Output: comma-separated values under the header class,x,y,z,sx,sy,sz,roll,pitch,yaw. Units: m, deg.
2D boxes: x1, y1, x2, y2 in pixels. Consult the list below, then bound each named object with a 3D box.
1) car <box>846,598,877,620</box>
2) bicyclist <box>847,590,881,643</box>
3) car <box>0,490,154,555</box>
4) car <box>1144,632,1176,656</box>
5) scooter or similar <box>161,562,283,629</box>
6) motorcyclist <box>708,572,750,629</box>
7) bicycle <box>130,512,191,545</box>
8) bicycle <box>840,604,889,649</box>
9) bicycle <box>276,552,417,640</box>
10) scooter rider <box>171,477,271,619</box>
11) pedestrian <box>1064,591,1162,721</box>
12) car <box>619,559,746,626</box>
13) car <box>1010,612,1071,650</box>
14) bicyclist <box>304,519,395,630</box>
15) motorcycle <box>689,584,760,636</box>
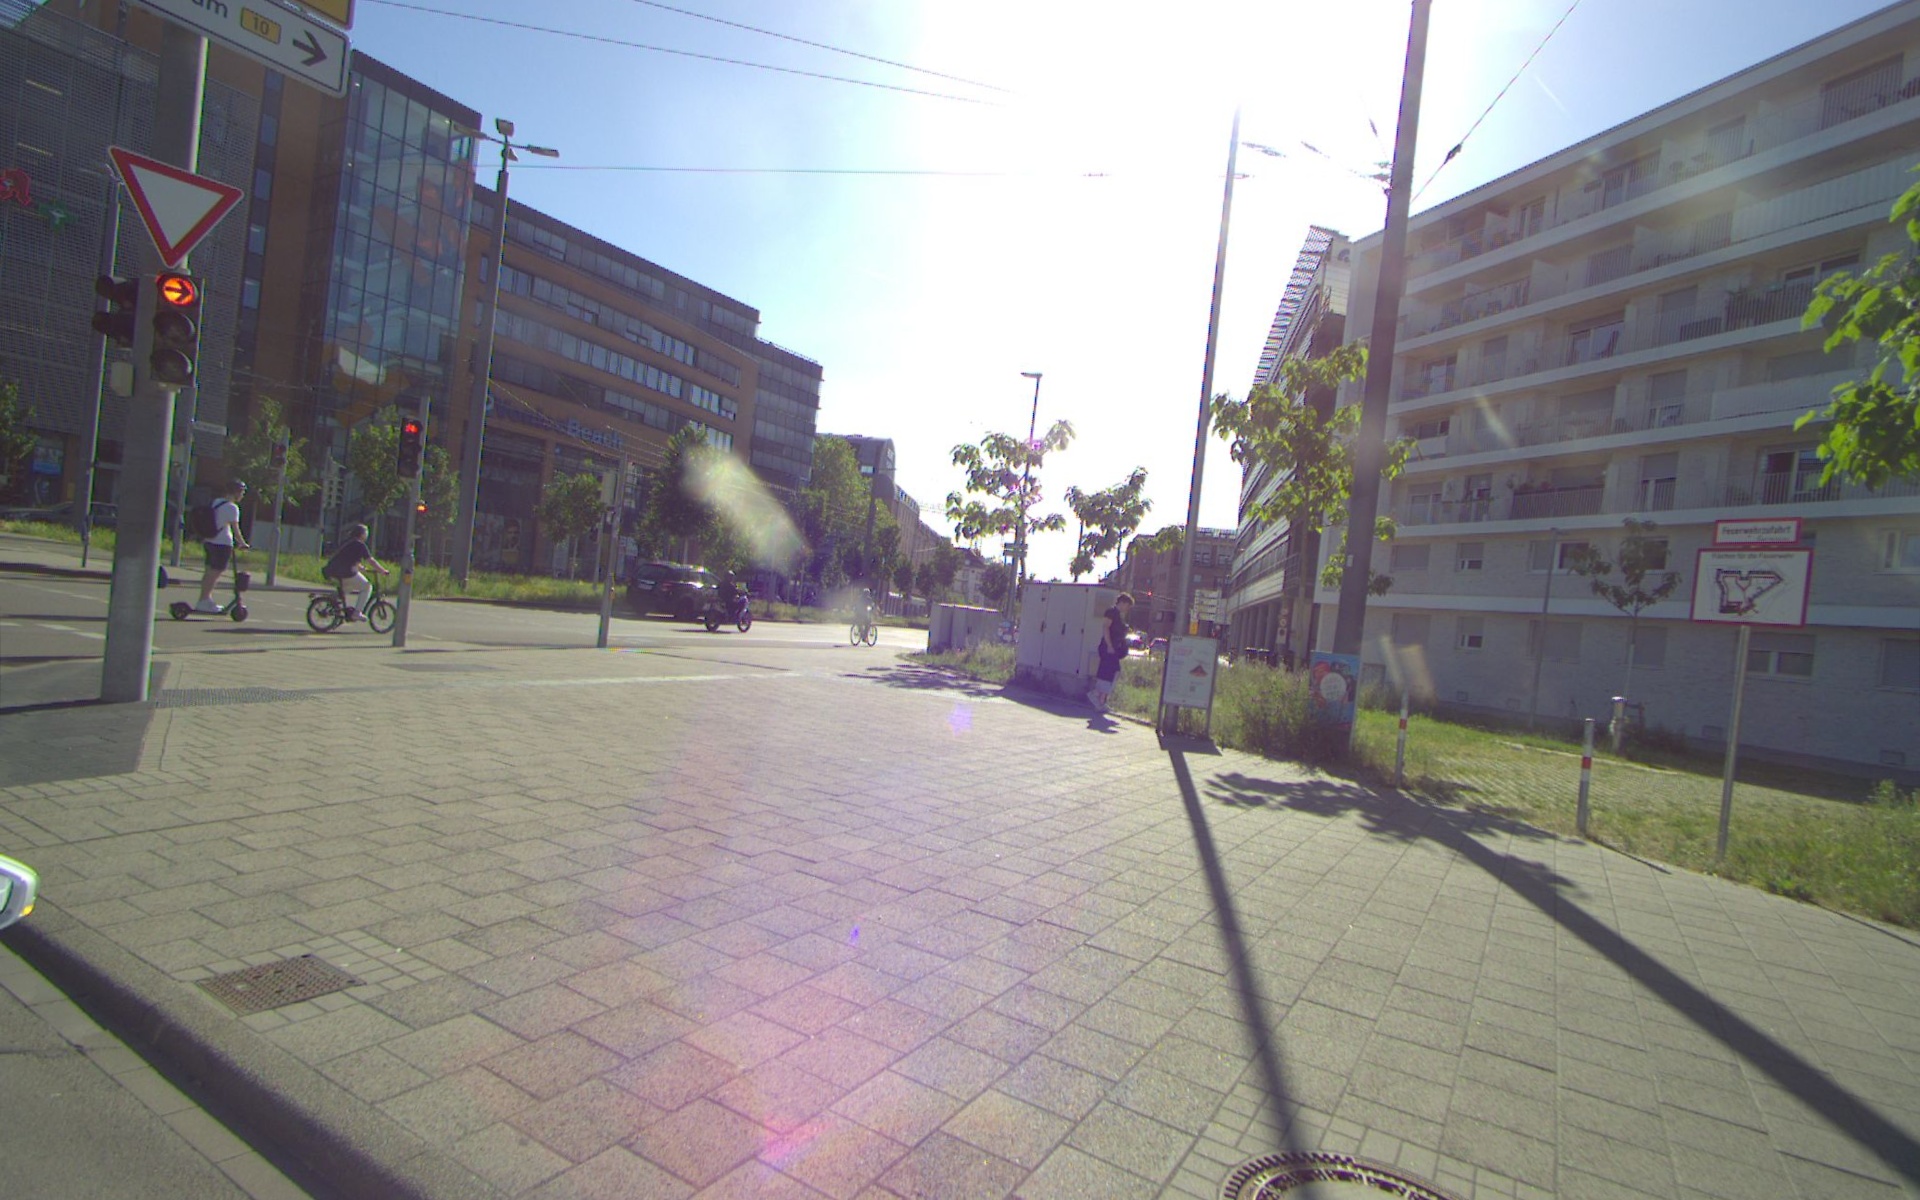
class,x,y,z,sx,sy,sz,roll,pitch,yaw
car,-10.149,0.973,103.737,1.806,1.661,4.314,7,-4,12
bicyclist,-3.056,0.529,32.000,0.563,1.585,0.886,7,-1,22
car,-32.066,-2.771,36.322,1.810,1.484,4.161,6,-5,30
car,15.424,3.424,77.518,1.677,1.515,4.281,7,-2,19
scooter or similar,-10.620,-0.048,14.510,0.603,0.795,1.213,7,-2,22
motorcyclist,-6.690,0.026,29.161,0.576,1.554,0.902,7,0,26
bicycle,-40.515,-3.613,51.028,0.595,1.310,2.260,7,-2,30
bicycle,-3.027,0.875,32.100,0.576,1.271,2.042,7,-2,22
bicycle,-9.472,-0.033,15.608,0.576,1.150,1.761,7,-2,22
scooter rider,-10.578,-0.723,14.411,0.563,1.894,0.787,7,-1,22
pedestrian,2.206,0.796,14.594,0.970,1.719,0.842,6,2,-16
car,-8.732,-0.178,32.007,1.616,1.665,4.200,7,-1,20
car,4.178,1.615,51.474,1.678,1.515,4.279,7,-2,24
bicyclist,-9.453,-0.378,15.589,0.563,1.585,0.886,7,-1,22
motorcycle,-6.780,0.310,29.043,0.576,1.297,2.270,7,-1,26
